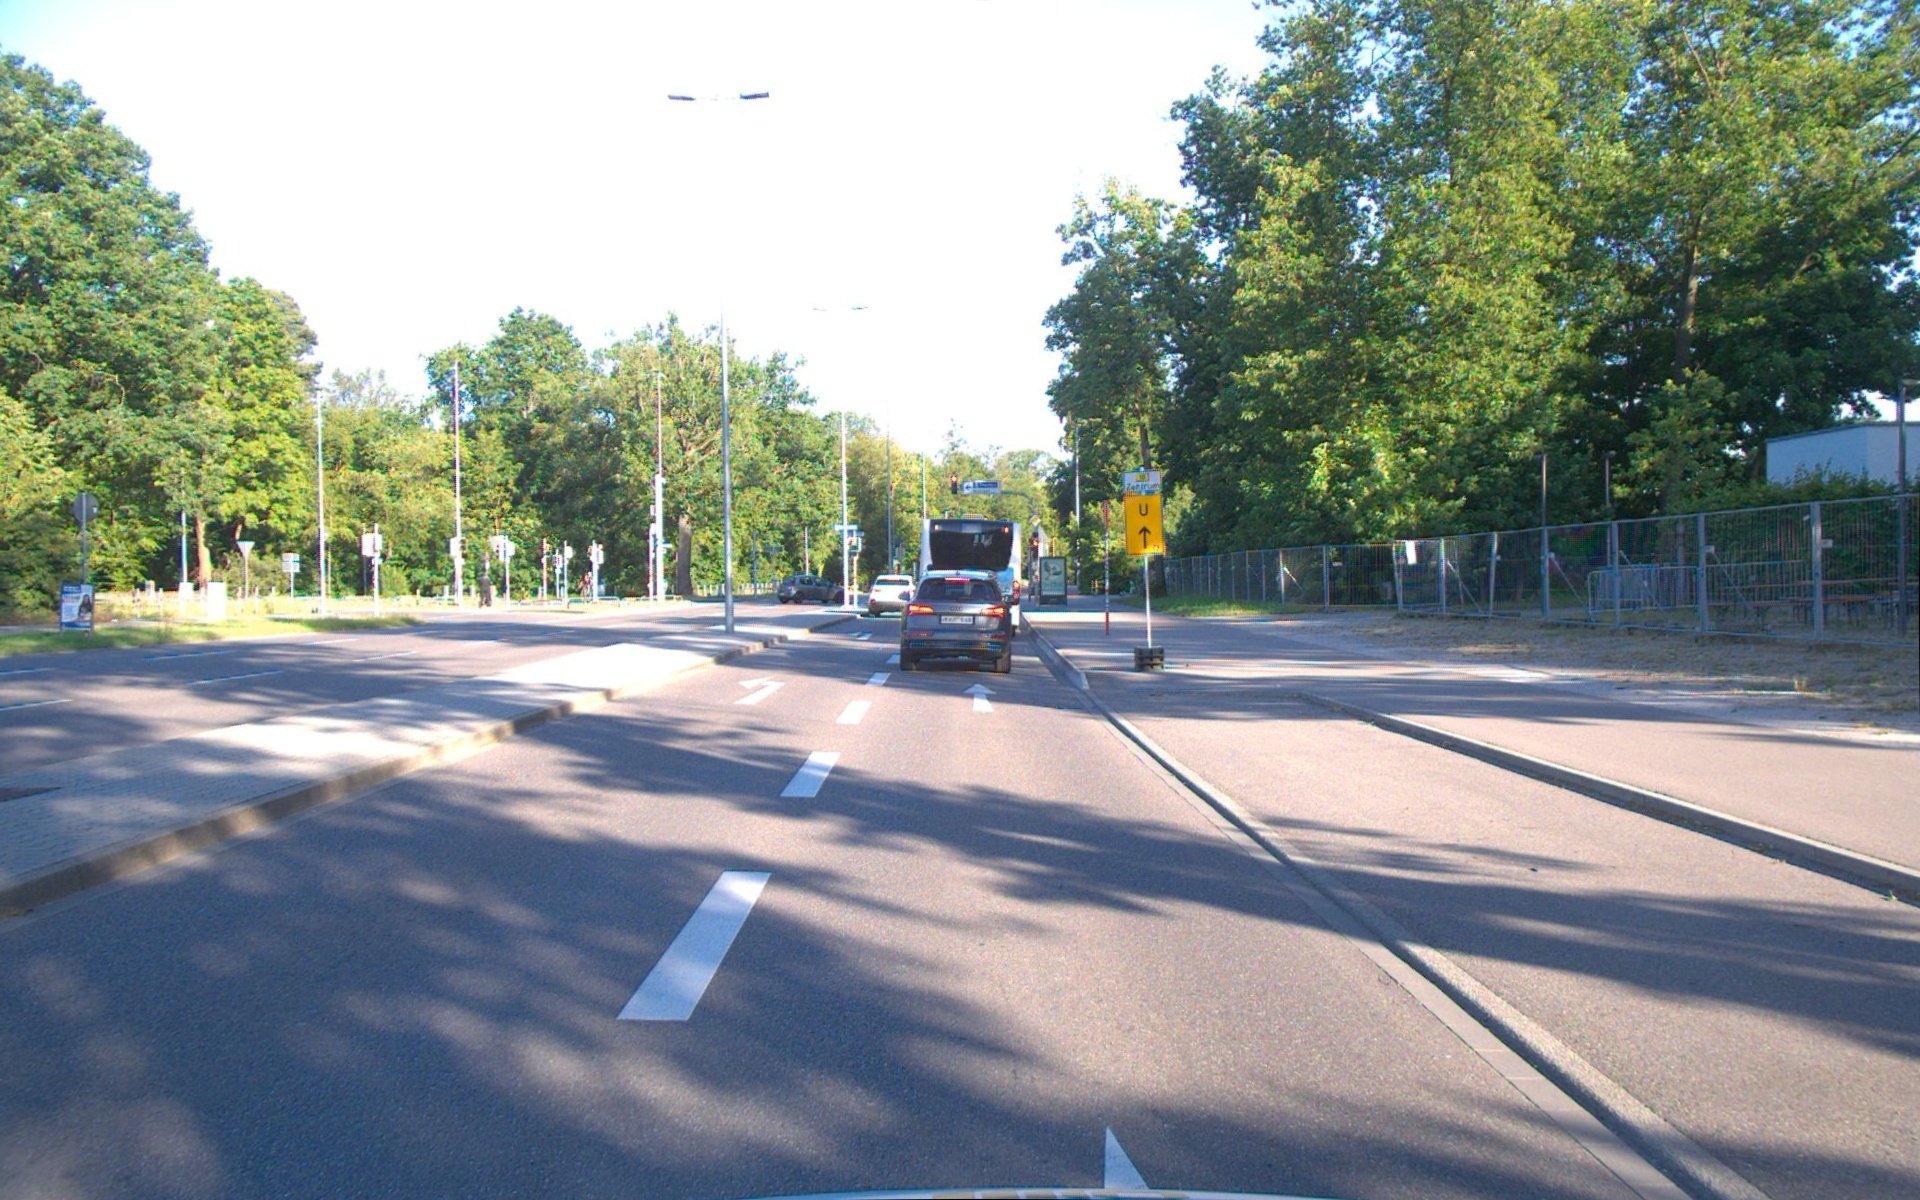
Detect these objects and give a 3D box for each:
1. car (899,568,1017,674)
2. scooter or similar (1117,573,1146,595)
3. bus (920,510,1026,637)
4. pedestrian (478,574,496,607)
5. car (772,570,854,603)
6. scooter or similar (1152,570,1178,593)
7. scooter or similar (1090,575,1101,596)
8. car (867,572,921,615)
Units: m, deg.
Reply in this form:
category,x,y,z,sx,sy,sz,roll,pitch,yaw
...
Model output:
category,x,y,z,sx,sy,sz,roll,pitch,yaw
car,0.000,0.297,28.399,1.859,1.660,4.001,1,1,1
scooter or similar,11.940,-1.144,115.318,1.989,1.469,0.601,-2,1,-24
bus,0.386,-0.667,44.727,2.541,3.041,9.328,1,0,1
pedestrian,-22.812,-0.469,79.764,0.643,1.587,0.531,-2,1,-41
car,-7.925,-0.749,89.264,3.937,1.668,2.049,-2,1,-25
scooter or similar,14.412,-1.318,116.530,0.535,1.594,1.995,-2,1,-38
scooter or similar,9.641,-1.015,117.760,0.498,1.469,2.021,-1,1,-4
car,-2.421,-0.266,61.493,1.798,1.545,4.001,0,1,1
